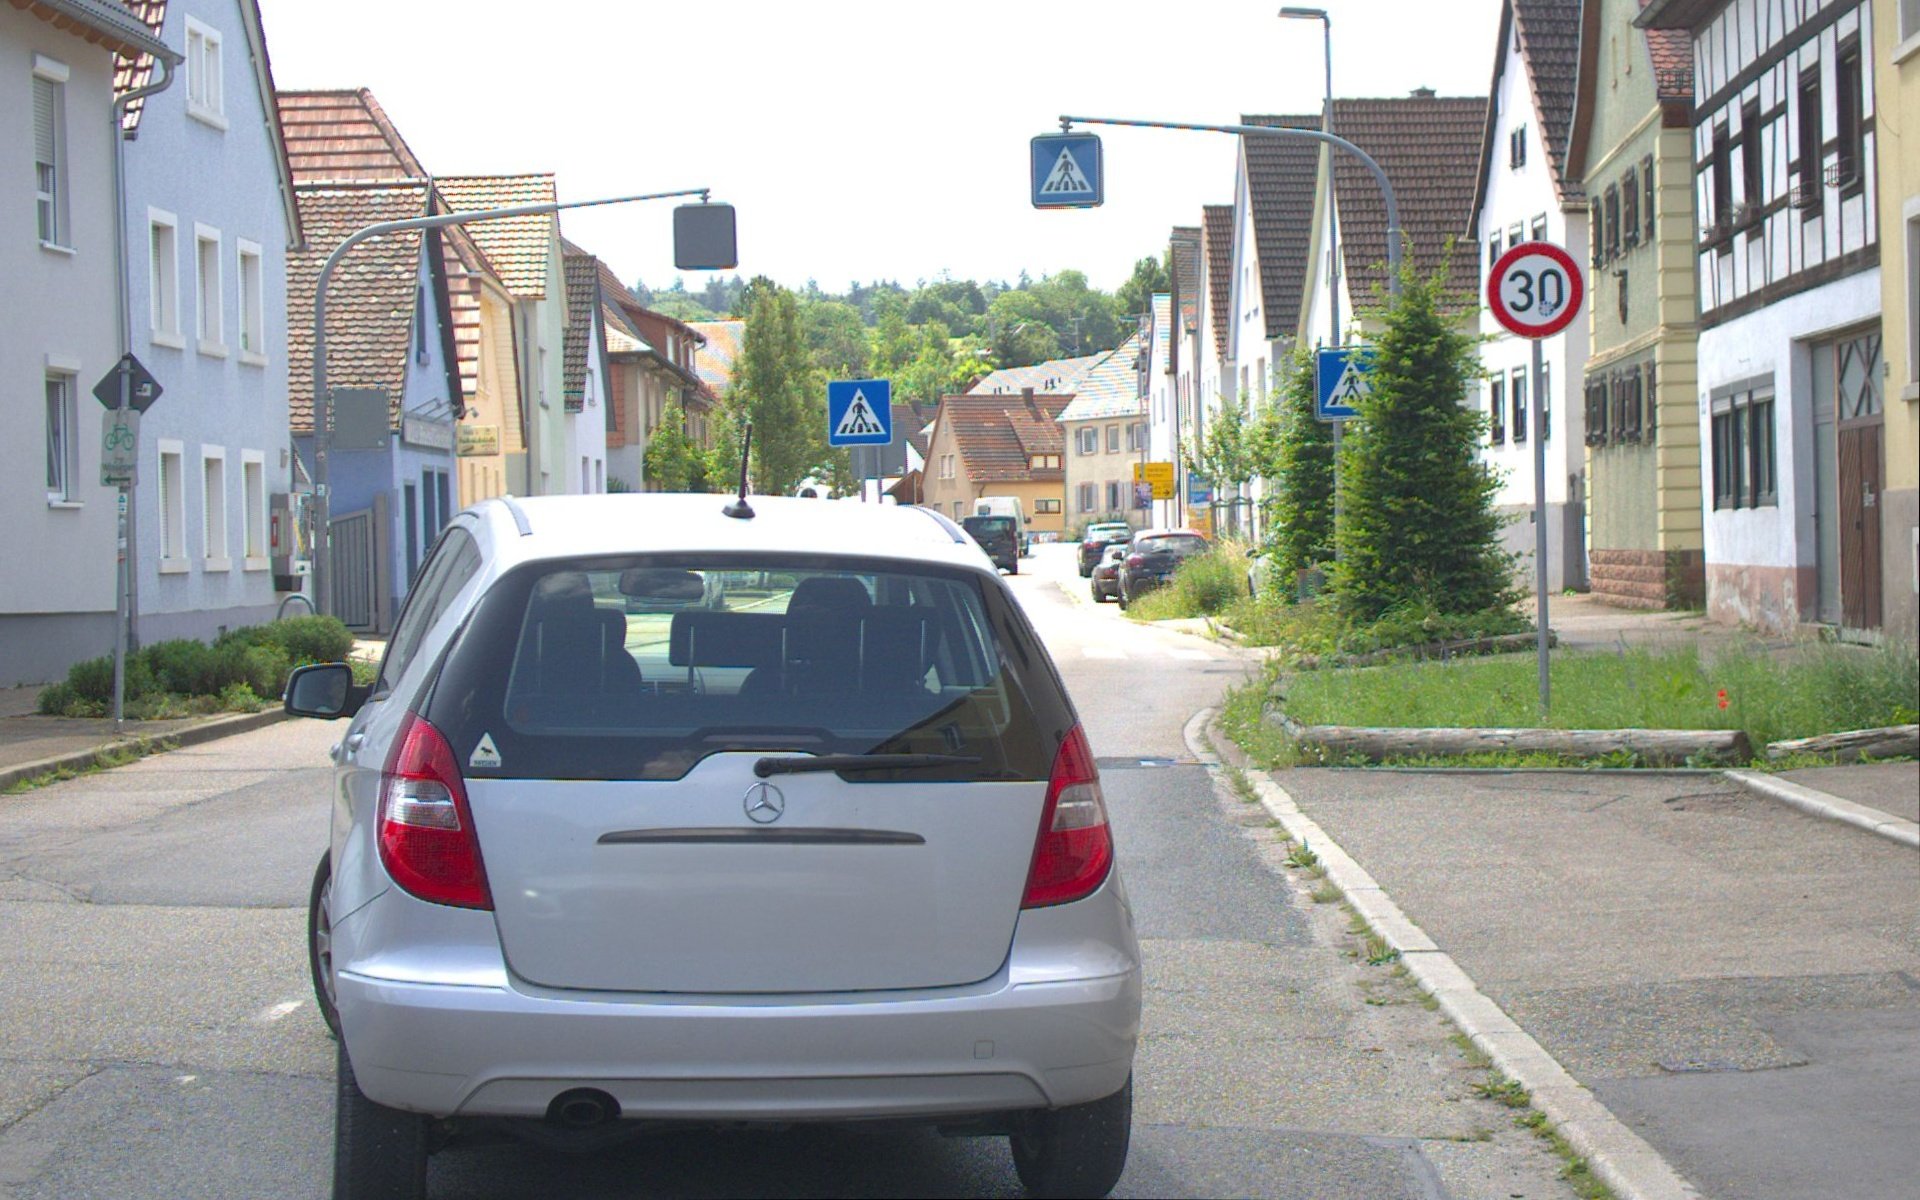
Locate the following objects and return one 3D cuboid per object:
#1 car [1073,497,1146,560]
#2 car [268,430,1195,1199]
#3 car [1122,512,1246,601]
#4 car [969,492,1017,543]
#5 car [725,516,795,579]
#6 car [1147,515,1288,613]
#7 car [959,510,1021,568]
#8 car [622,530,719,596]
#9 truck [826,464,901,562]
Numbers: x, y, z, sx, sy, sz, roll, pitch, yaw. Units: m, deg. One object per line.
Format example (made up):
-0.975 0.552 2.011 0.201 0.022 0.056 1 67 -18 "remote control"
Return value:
4.583 -2.192 105.720 1.993 1.810 4.000 0 -1 -1 "car"
-0.803 0.475 8.762 1.810 1.638 3.730 1 1 -12 "car"
4.028 -0.761 62.327 1.993 1.503 4.000 0 -1 0 "car"
1.379 -3.477 145.348 1.993 2.007 4.000 0 -1 0 "car"
-5.386 -1.407 92.993 1.667 1.590 4.000 0 -1 0 "car"
4.133 -0.551 55.656 1.993 1.503 4.000 0 -1 0 "car"
0.994 -2.018 115.127 1.993 1.810 4.000 0 -1 -1 "car"
-6.154 -0.767 72.928 1.993 1.317 3.709 0 -1 -5 "car"
-2.693 -2.424 97.471 1.993 2.528 6.739 0 -1 -1 "truck"
